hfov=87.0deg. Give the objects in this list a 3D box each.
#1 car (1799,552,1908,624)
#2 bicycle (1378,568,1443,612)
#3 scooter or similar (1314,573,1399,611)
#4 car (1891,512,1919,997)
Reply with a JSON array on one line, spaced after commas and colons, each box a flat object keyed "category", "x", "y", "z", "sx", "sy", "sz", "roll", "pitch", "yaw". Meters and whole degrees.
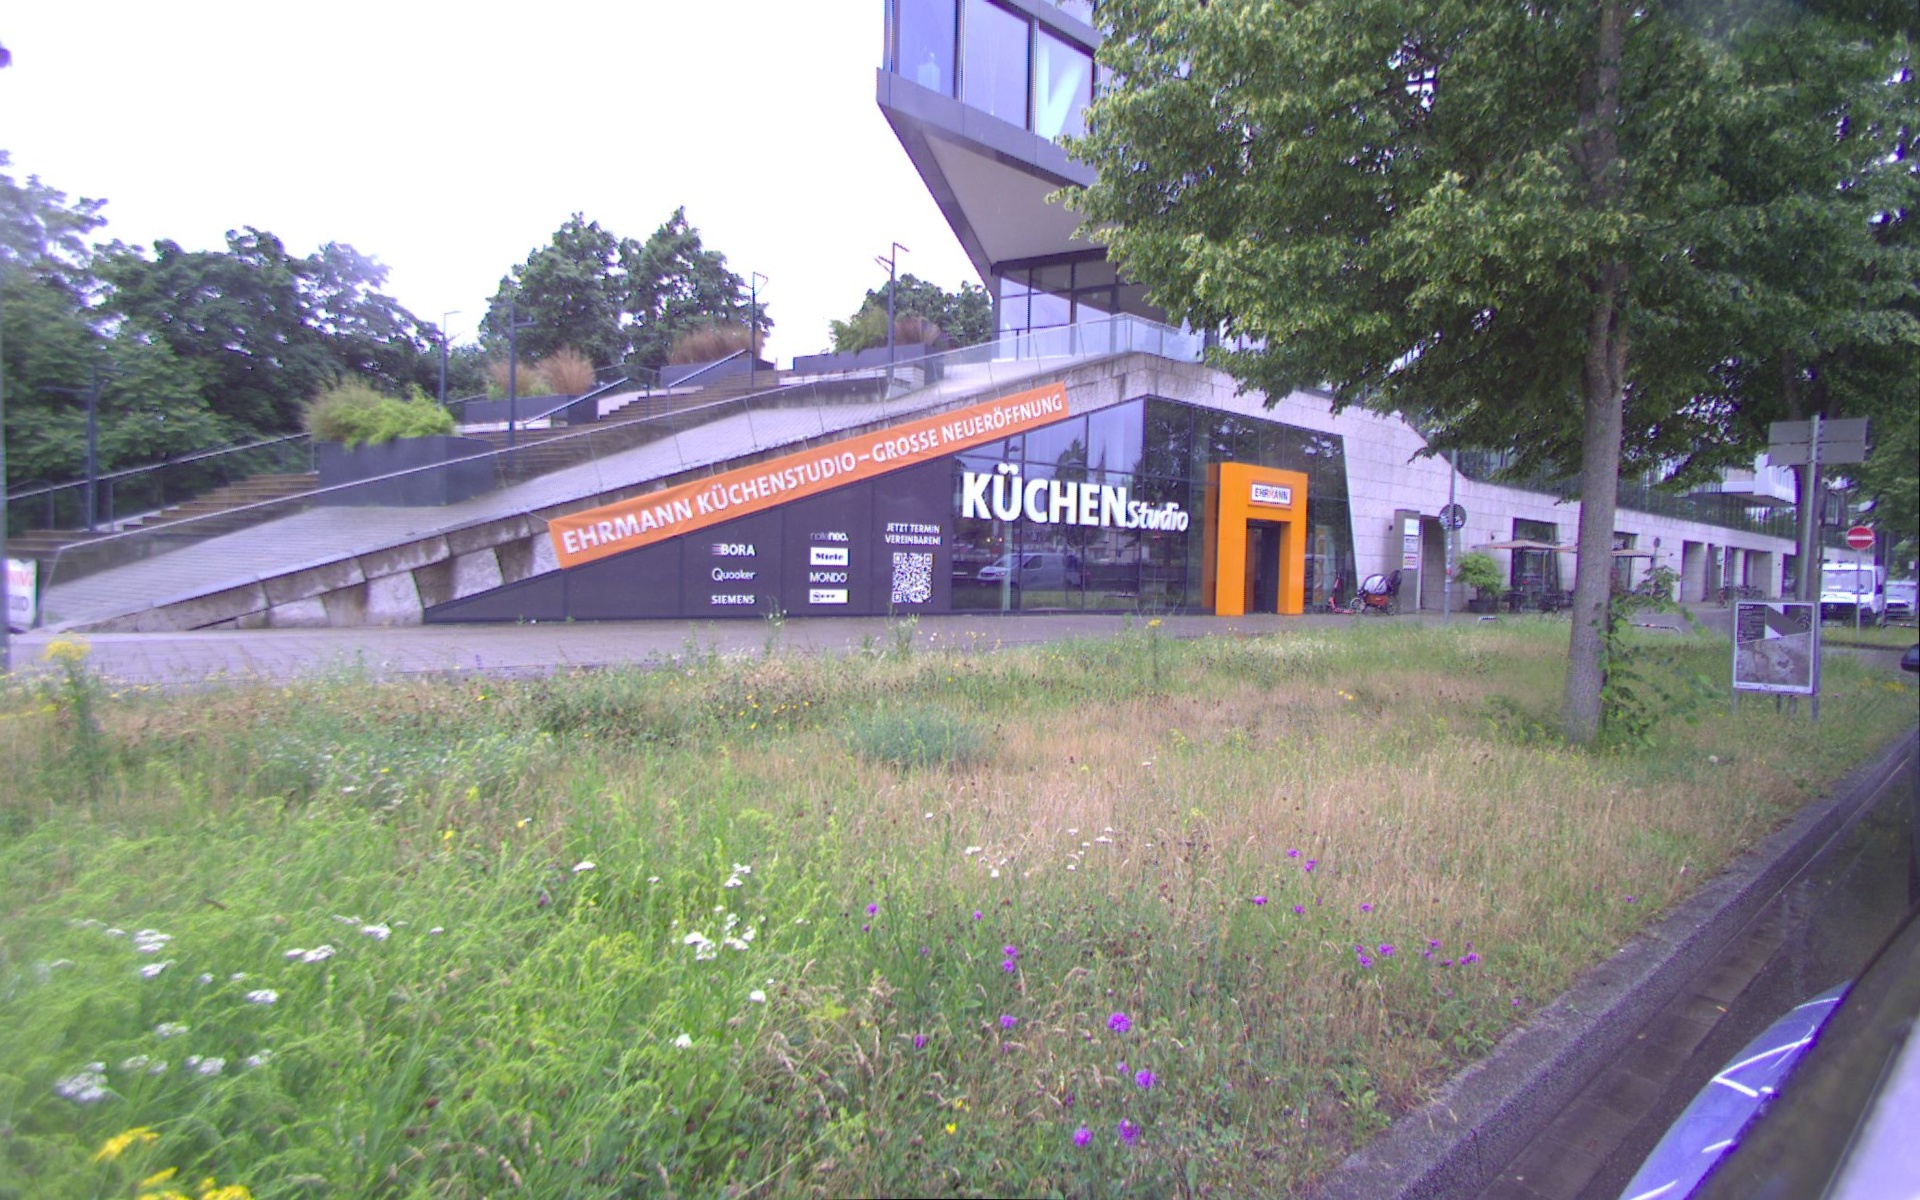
[{"category": "car", "x": 29.700, "y": -0.403, "z": 33.593, "sx": 5.008, "sy": 2.229, "sz": 2.083, "roll": -1, "pitch": 0, "yaw": -41}, {"category": "bicycle", "x": 14.566, "y": -0.335, "z": 32.708, "sx": 2.650, "sy": 1.364, "sz": 0.882, "roll": -1, "pitch": 0, "yaw": -41}, {"category": "scooter or similar", "x": 12.132, "y": -0.247, "z": 30.960, "sx": 2.560, "sy": 1.113, "sz": 0.814, "roll": 0, "pitch": 0, "yaw": -23}, {"category": "car", "x": 5.703, "y": 0.603, "z": 4.442, "sx": 4.306, "sy": 1.769, "sz": 1.915, "roll": 1, "pitch": -1, "yaw": -41}]
